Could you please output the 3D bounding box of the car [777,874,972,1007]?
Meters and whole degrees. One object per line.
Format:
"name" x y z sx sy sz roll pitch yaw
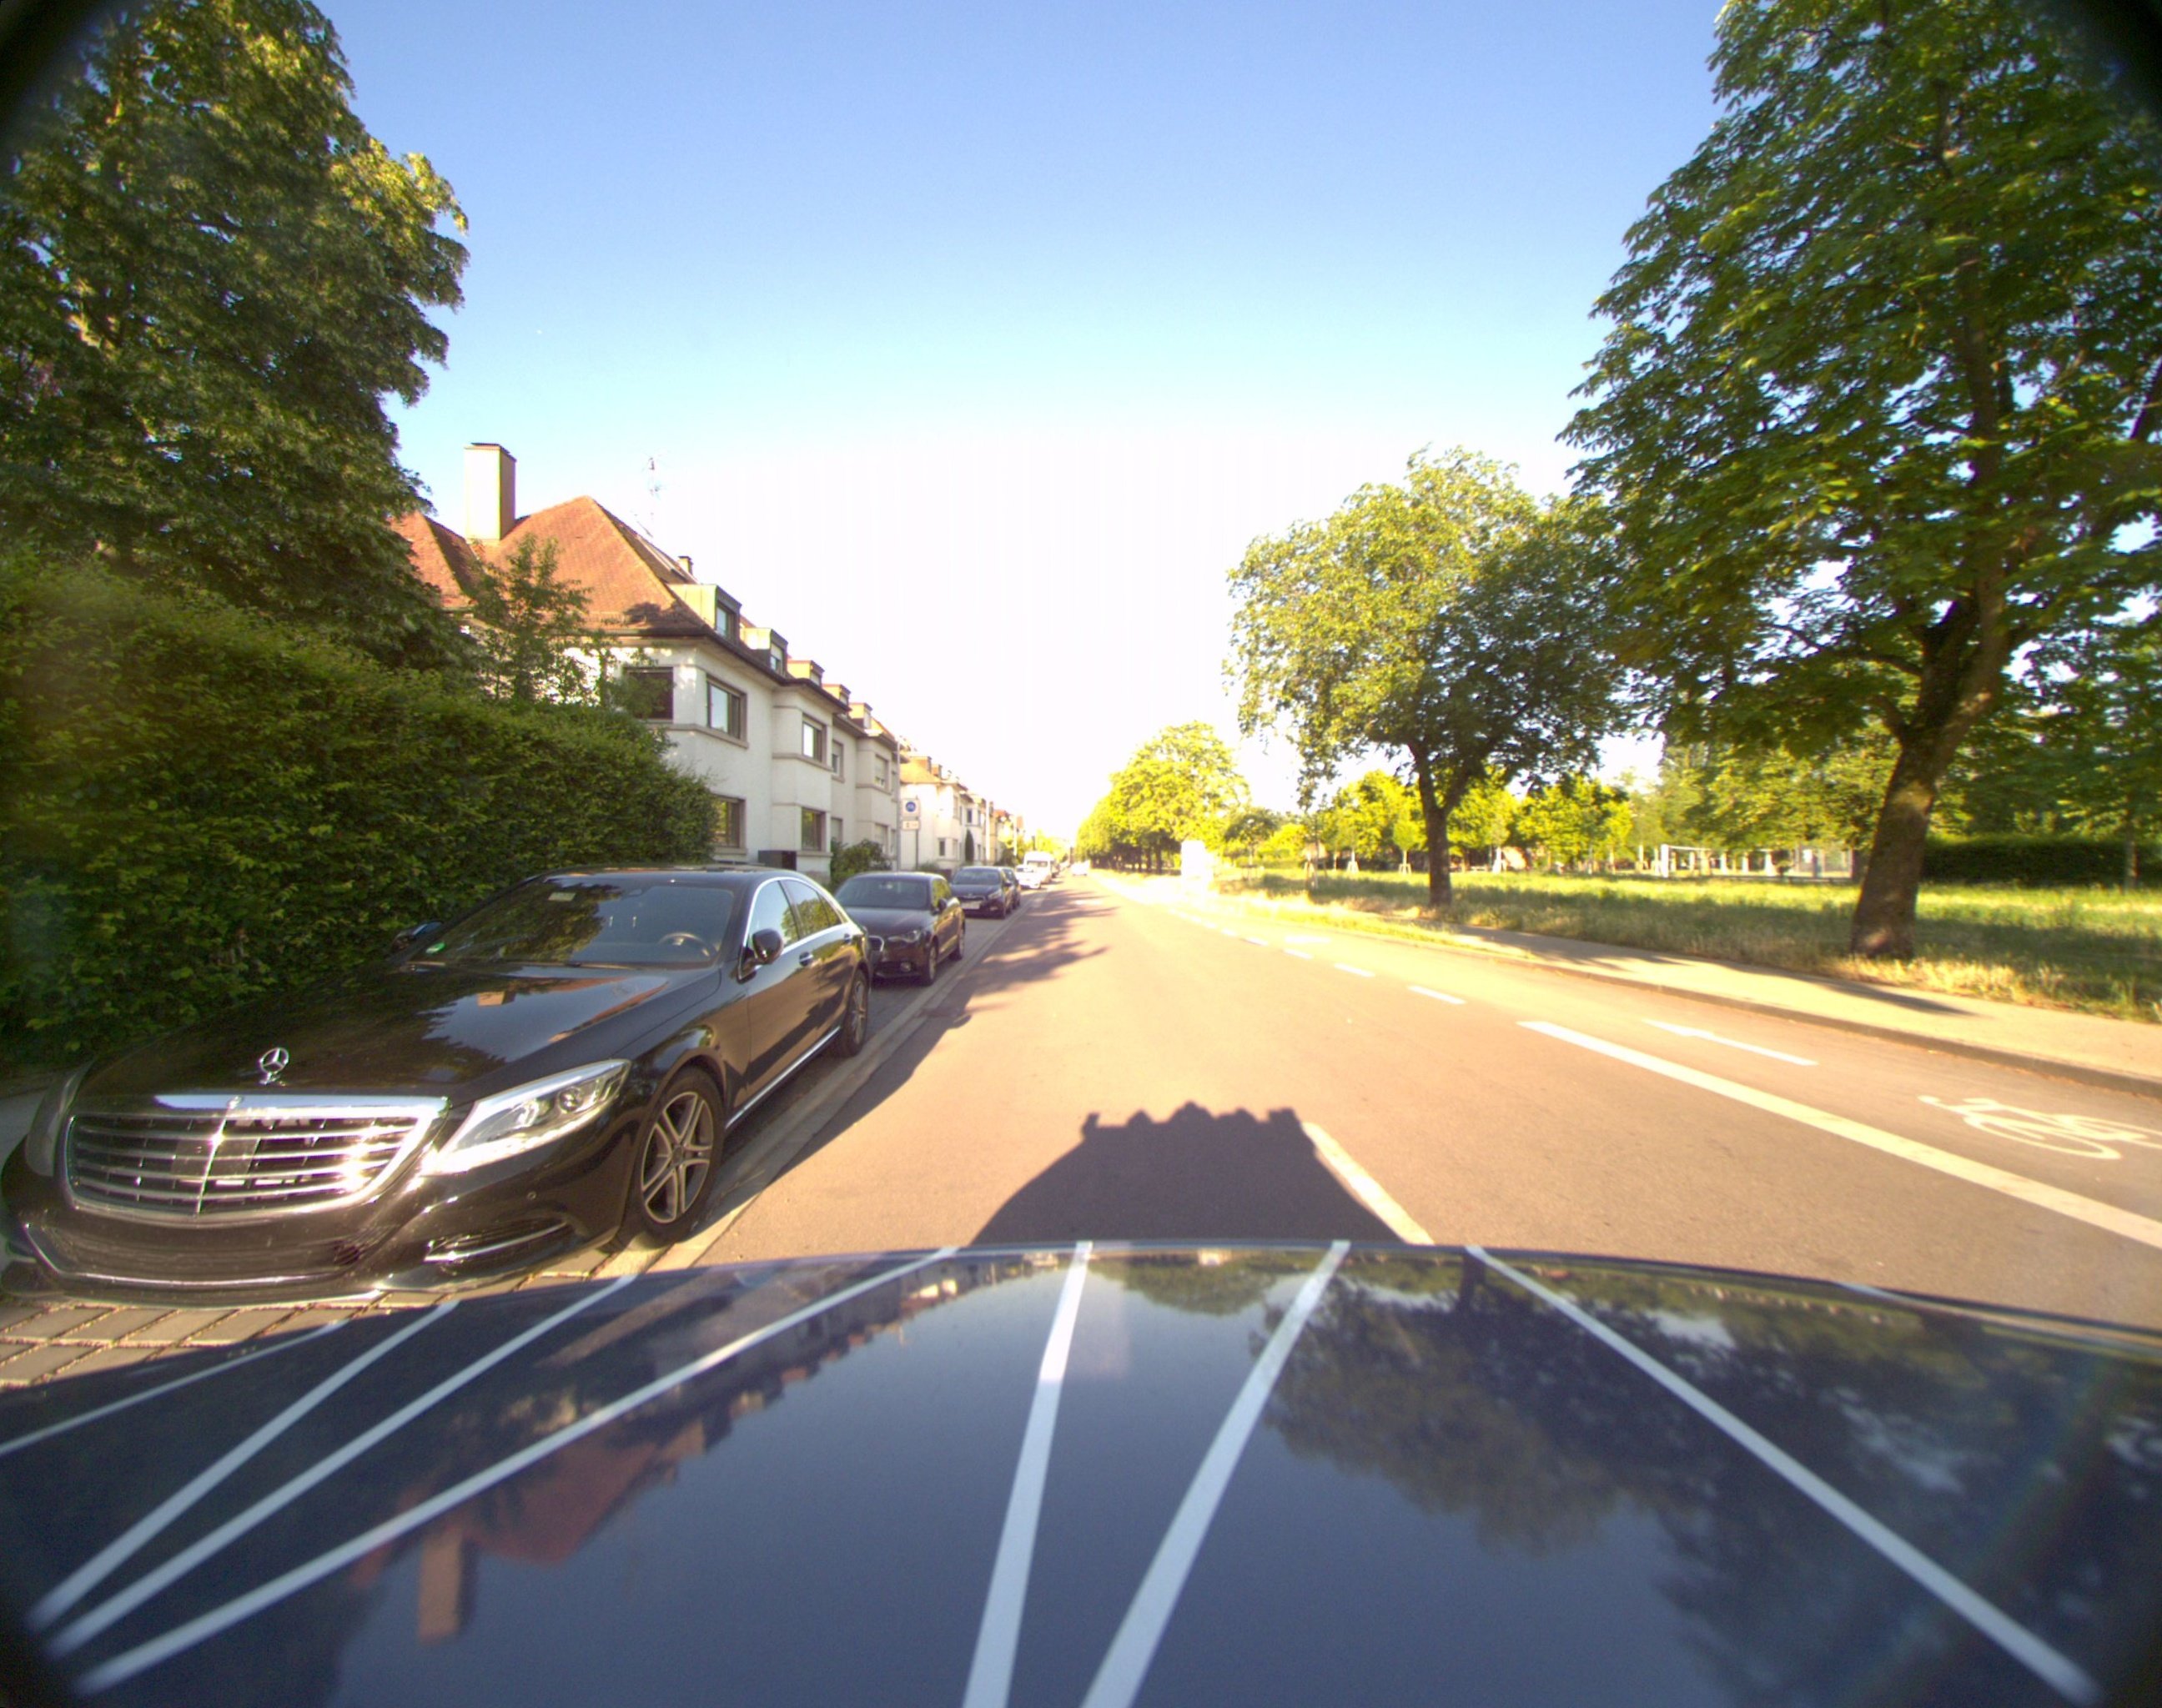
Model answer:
"car" -2.658 1.053 10.727 1.645 1.419 3.936 2 0 0

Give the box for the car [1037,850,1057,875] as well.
"car" -4.009 0.993 90.282 2.134 2.837 5.987 2 0 -1

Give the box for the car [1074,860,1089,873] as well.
"car" 0.088 1.608 100.352 1.896 1.667 4.424 -1 0 -1

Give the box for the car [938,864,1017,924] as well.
"car" -2.929 1.076 22.246 1.751 1.466 4.255 3 0 -2

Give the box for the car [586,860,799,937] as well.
"car" -8.231 0.926 16.389 3.644 1.487 1.780 2 0 -5

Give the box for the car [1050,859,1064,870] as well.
"car" -3.675 1.587 116.673 1.974 1.630 4.000 2 -1 -1

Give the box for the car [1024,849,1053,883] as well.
"car" -3.298 0.948 59.586 2.135 2.503 5.507 1 0 -2

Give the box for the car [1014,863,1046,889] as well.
"car" -3.104 1.324 46.703 1.787 1.498 4.233 -1 0 -2

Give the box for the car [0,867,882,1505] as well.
"car" -2.632 0.894 4.356 1.864 1.533 4.872 1 0 -3

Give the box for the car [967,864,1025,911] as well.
"car" -3.011 1.154 27.577 1.723 1.463 3.983 2 0 -2
